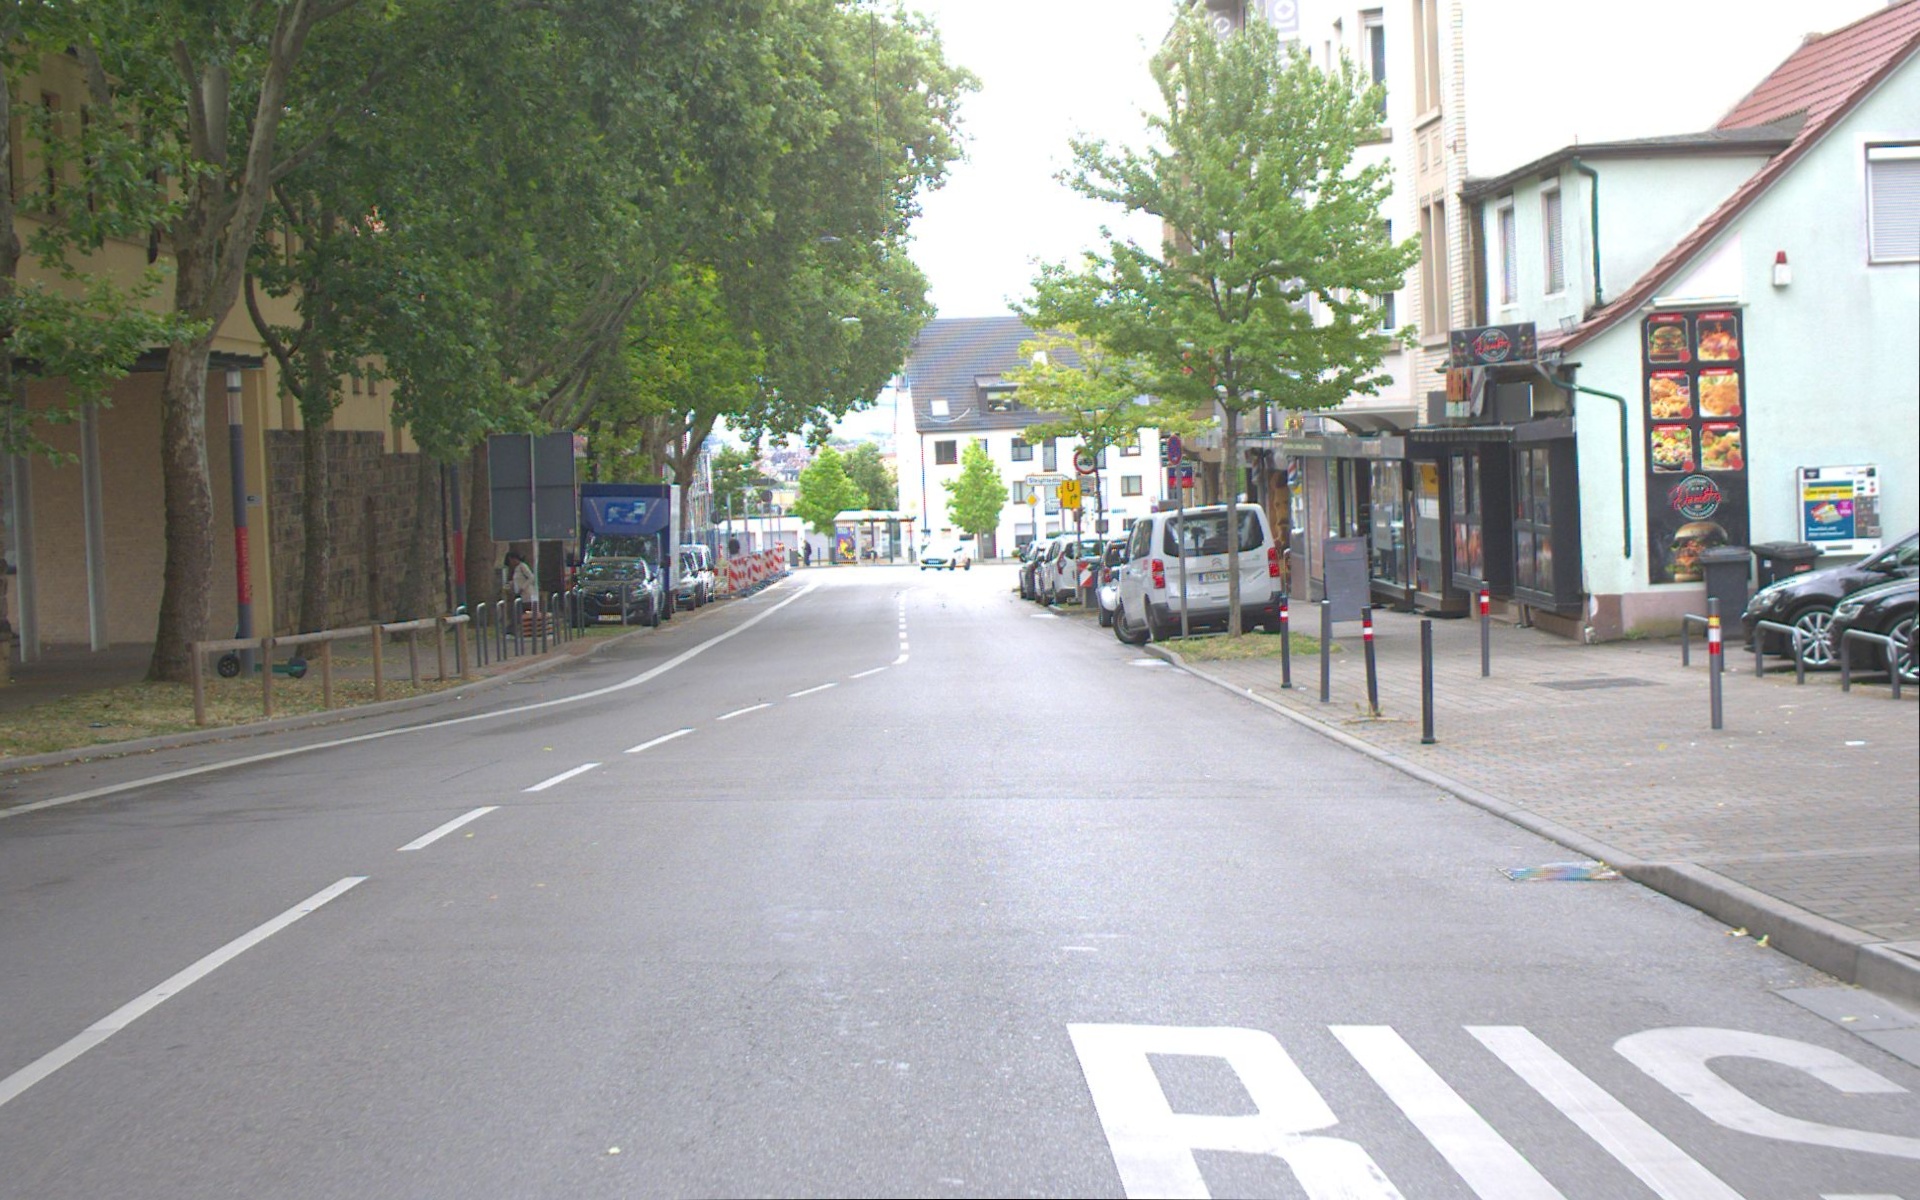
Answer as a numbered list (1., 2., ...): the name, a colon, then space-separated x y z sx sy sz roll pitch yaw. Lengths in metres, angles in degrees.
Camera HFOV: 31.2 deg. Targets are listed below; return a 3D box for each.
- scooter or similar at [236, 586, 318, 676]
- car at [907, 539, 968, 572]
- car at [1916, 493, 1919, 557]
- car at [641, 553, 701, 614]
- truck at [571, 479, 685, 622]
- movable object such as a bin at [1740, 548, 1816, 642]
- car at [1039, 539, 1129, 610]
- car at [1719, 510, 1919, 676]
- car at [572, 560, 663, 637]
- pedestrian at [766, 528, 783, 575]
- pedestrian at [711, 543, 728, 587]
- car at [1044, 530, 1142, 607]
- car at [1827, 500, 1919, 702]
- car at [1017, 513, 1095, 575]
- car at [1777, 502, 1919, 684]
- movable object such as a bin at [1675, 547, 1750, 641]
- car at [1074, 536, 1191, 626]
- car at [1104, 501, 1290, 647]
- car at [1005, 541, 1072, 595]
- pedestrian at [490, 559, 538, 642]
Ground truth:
1. scooter or similar: -9.271 0.416 46.677 1.028 1.180 0.491 -2 1 -10
2. car: -1.057 -2.131 164.335 1.865 1.484 3.877 -2 1 16
3. car: 9.298 -0.089 23.558 4.909 1.667 1.997 -4 1 27
4. car: -8.155 -0.489 97.187 1.533 1.633 3.719 -2 1 -4
5. truck: -8.225 -1.266 85.728 2.231 3.335 7.450 -2 1 -2
6. movable object such as a bin: 9.388 -0.060 39.466 0.698 1.038 0.645 -2 1 1
7. car: 2.861 -0.604 79.684 1.668 1.542 3.757 -2 1 -4
8. car: 9.652 -0.119 31.535 4.909 1.464 1.927 -1 1 26
9. car: -7.571 -0.054 76.254 1.834 1.572 3.757 -2 1 -4
10. pedestrian: -8.027 -2.091 148.941 0.633 2.007 0.784 -2 1 1
11. pedestrian: -10.882 -1.587 155.525 0.633 1.988 0.784 -2 1 1
12. car: 2.804 -0.683 73.188 1.668 1.542 3.757 -2 1 -4
13. car: 9.337 -0.064 26.241 4.910 1.535 1.997 -1 1 28
14. car: 2.510 -1.476 90.463 1.668 1.542 3.757 -2 1 -4
15. car: 9.533 -0.121 28.837 4.909 1.488 1.853 -1 1 25
16. movable object such as a bin: 8.634 -0.075 39.455 0.698 1.038 0.645 -2 1 1
17. car: 3.134 -0.378 62.988 1.668 1.542 3.757 -2 1 -4
18. car: 3.367 -0.406 49.781 1.993 1.929 4.920 -2 1 -4
19. car: 2.343 -0.974 103.406 1.668 1.542 3.757 -2 1 -4
20. pedestrian: -8.466 0.009 65.265 0.672 1.531 0.611 -3 1 -30
